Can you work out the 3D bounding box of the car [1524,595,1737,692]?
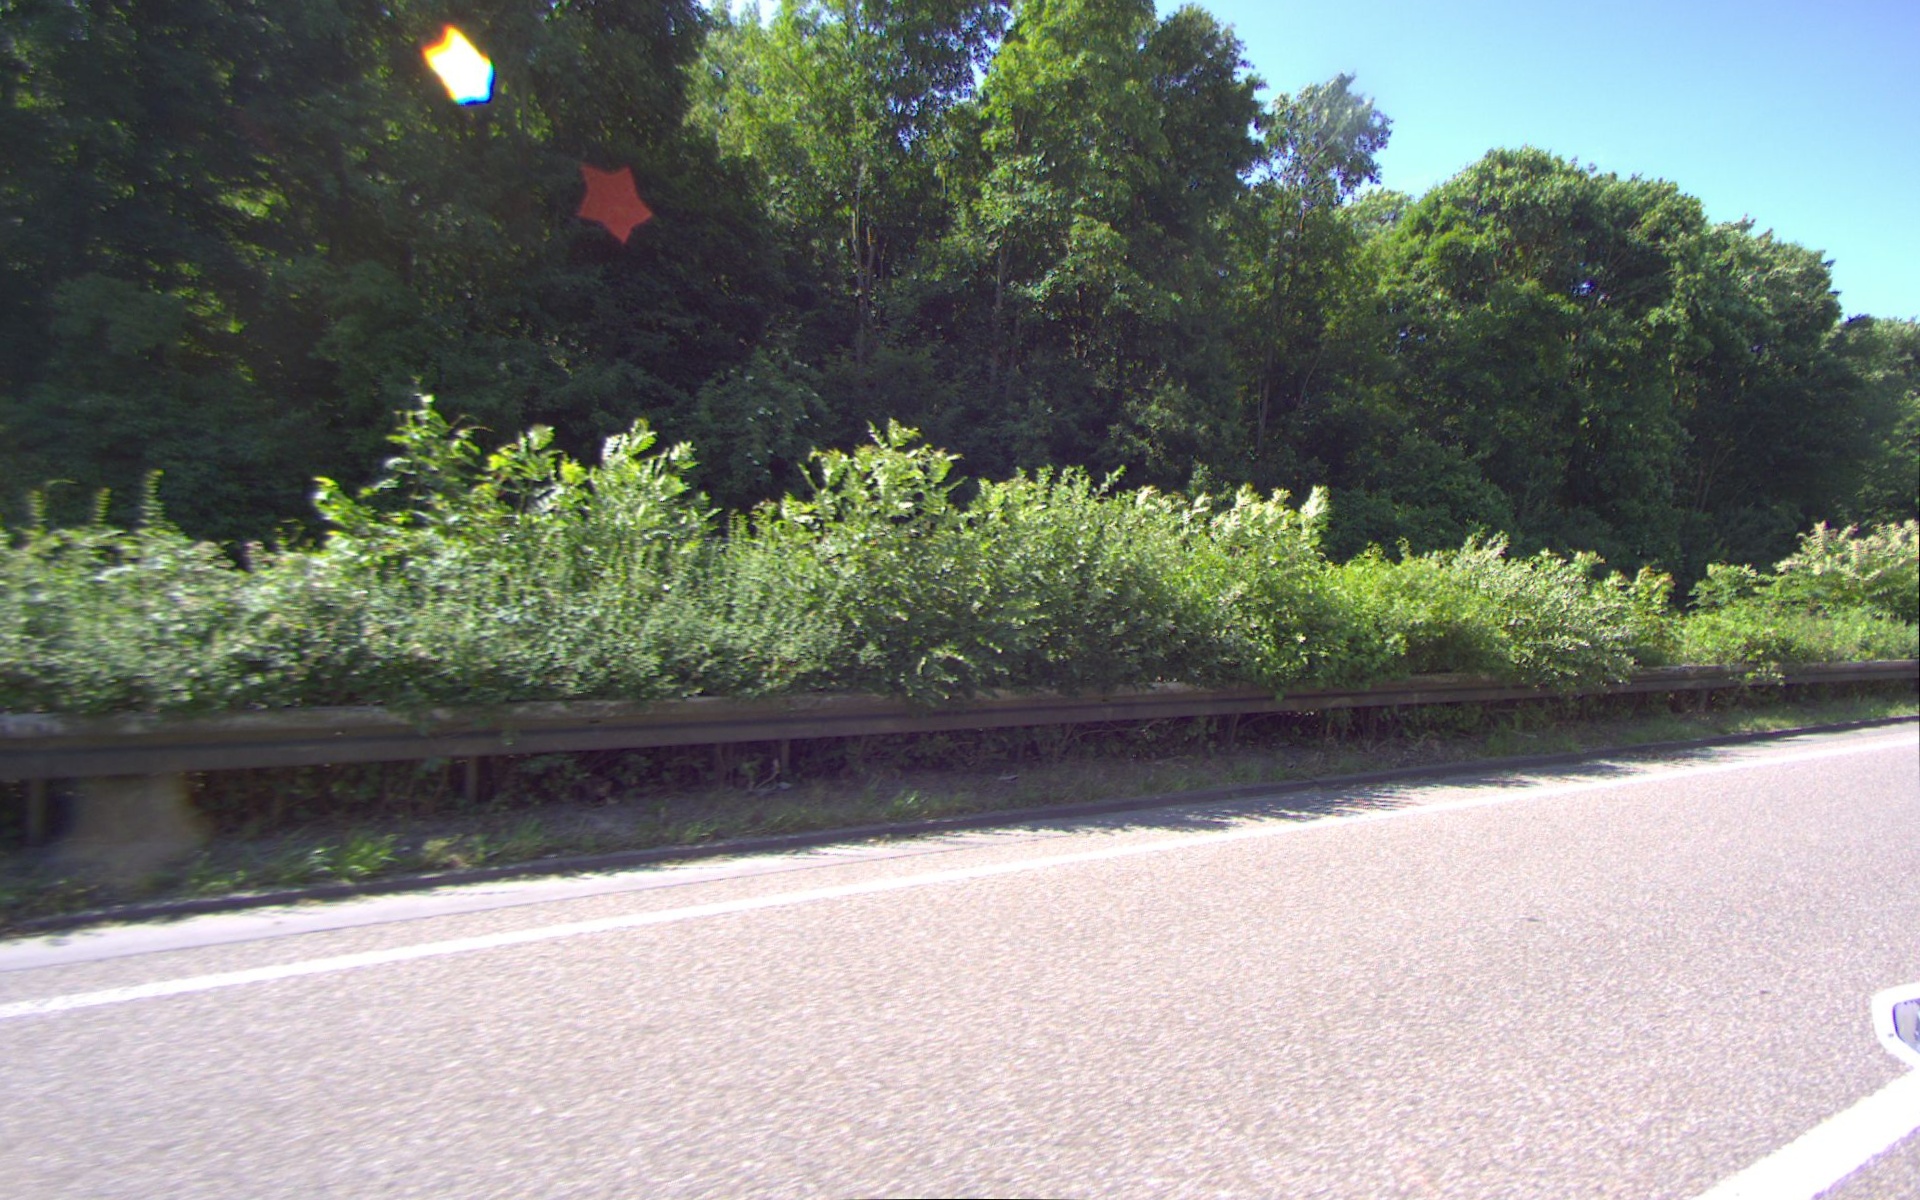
[{"bbox_3d":[14.080,0.876,21.051,4.495,1.826,1.834,1,0,-29],"label":"car"}]
